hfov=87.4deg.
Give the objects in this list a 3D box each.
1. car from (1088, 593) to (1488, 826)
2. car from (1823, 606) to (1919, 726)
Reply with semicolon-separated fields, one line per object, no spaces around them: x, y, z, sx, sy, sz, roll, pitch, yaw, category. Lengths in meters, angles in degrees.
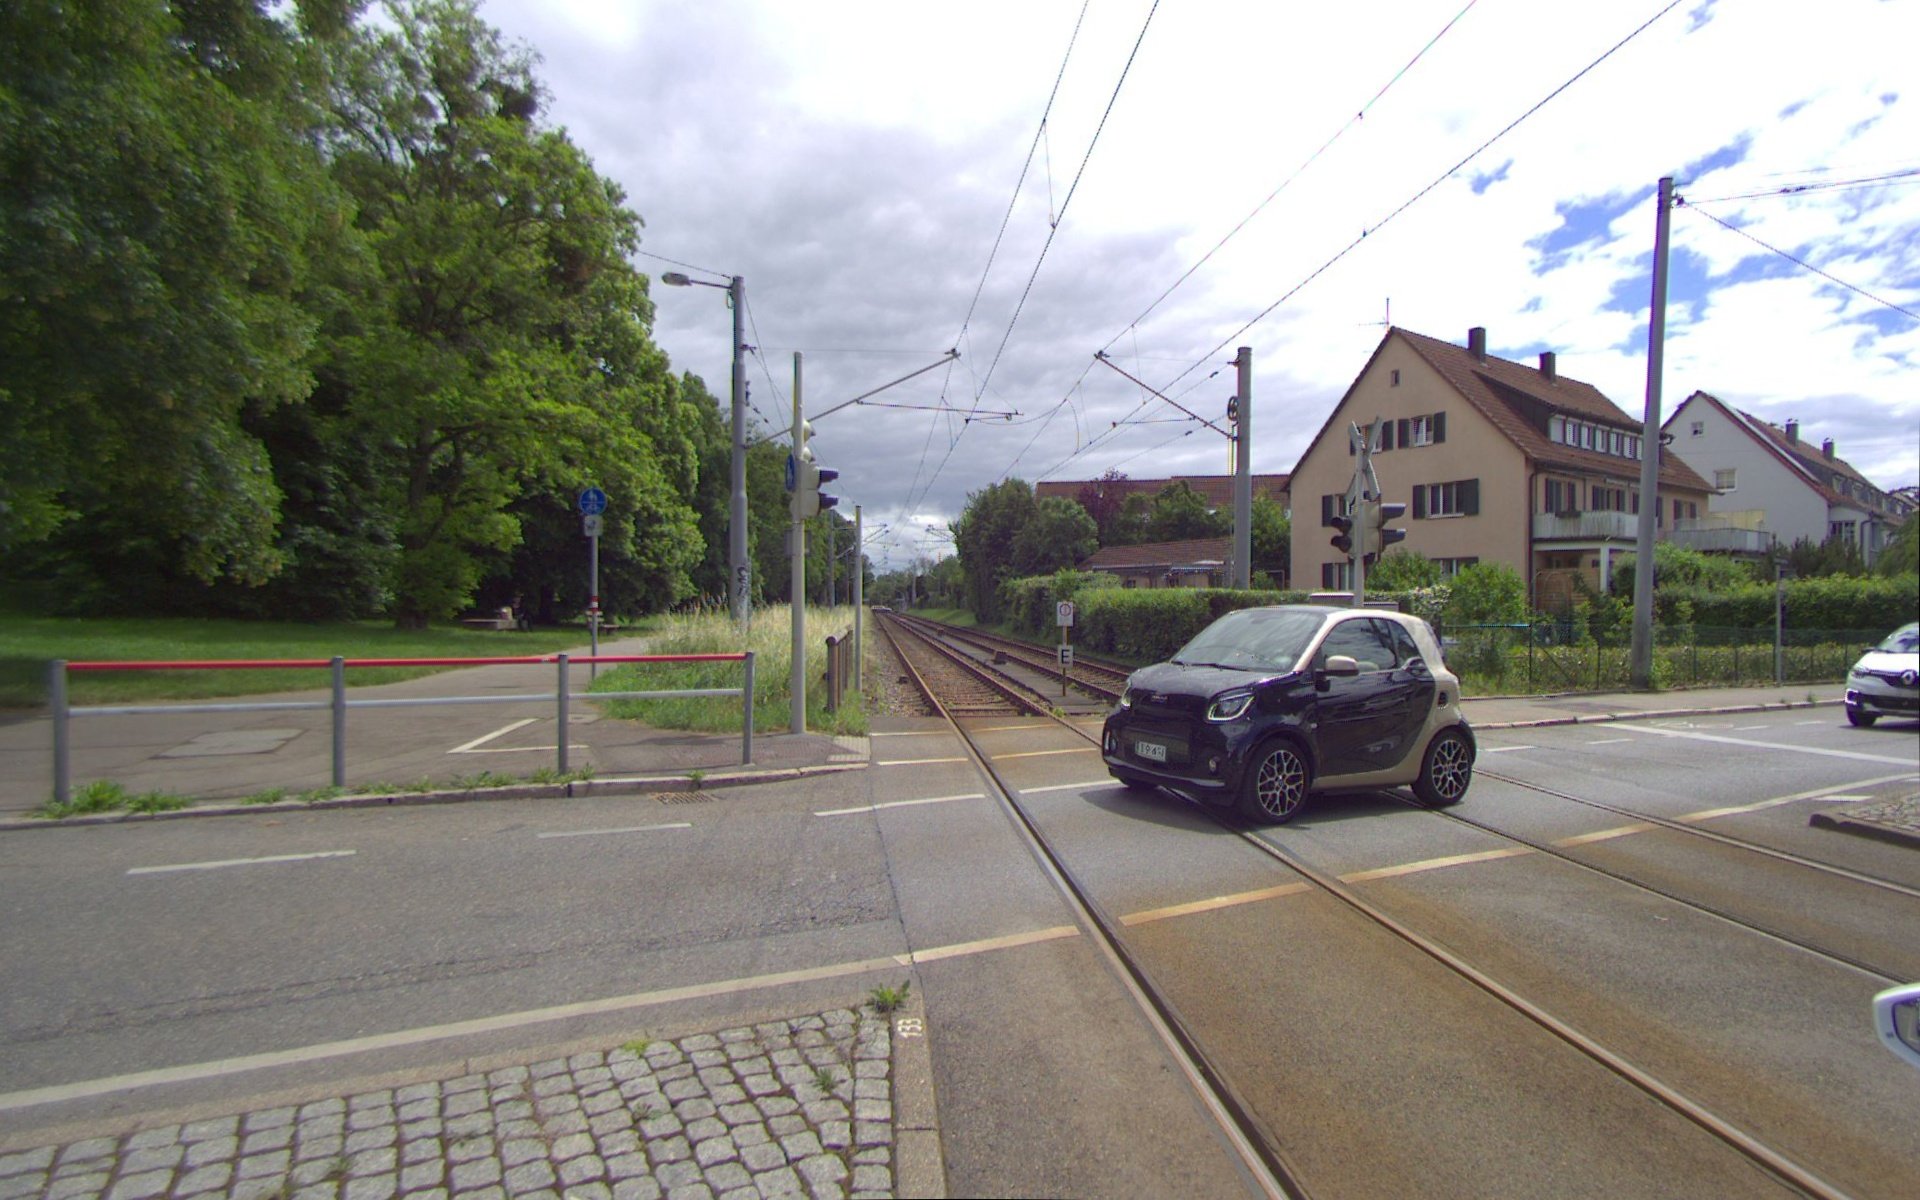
2.606;0.744;7.983;2.754;1.530;1.568;1;0;-29;car
14.693;0.971;14.824;3.991;1.624;1.767;2;-3;-30;car
